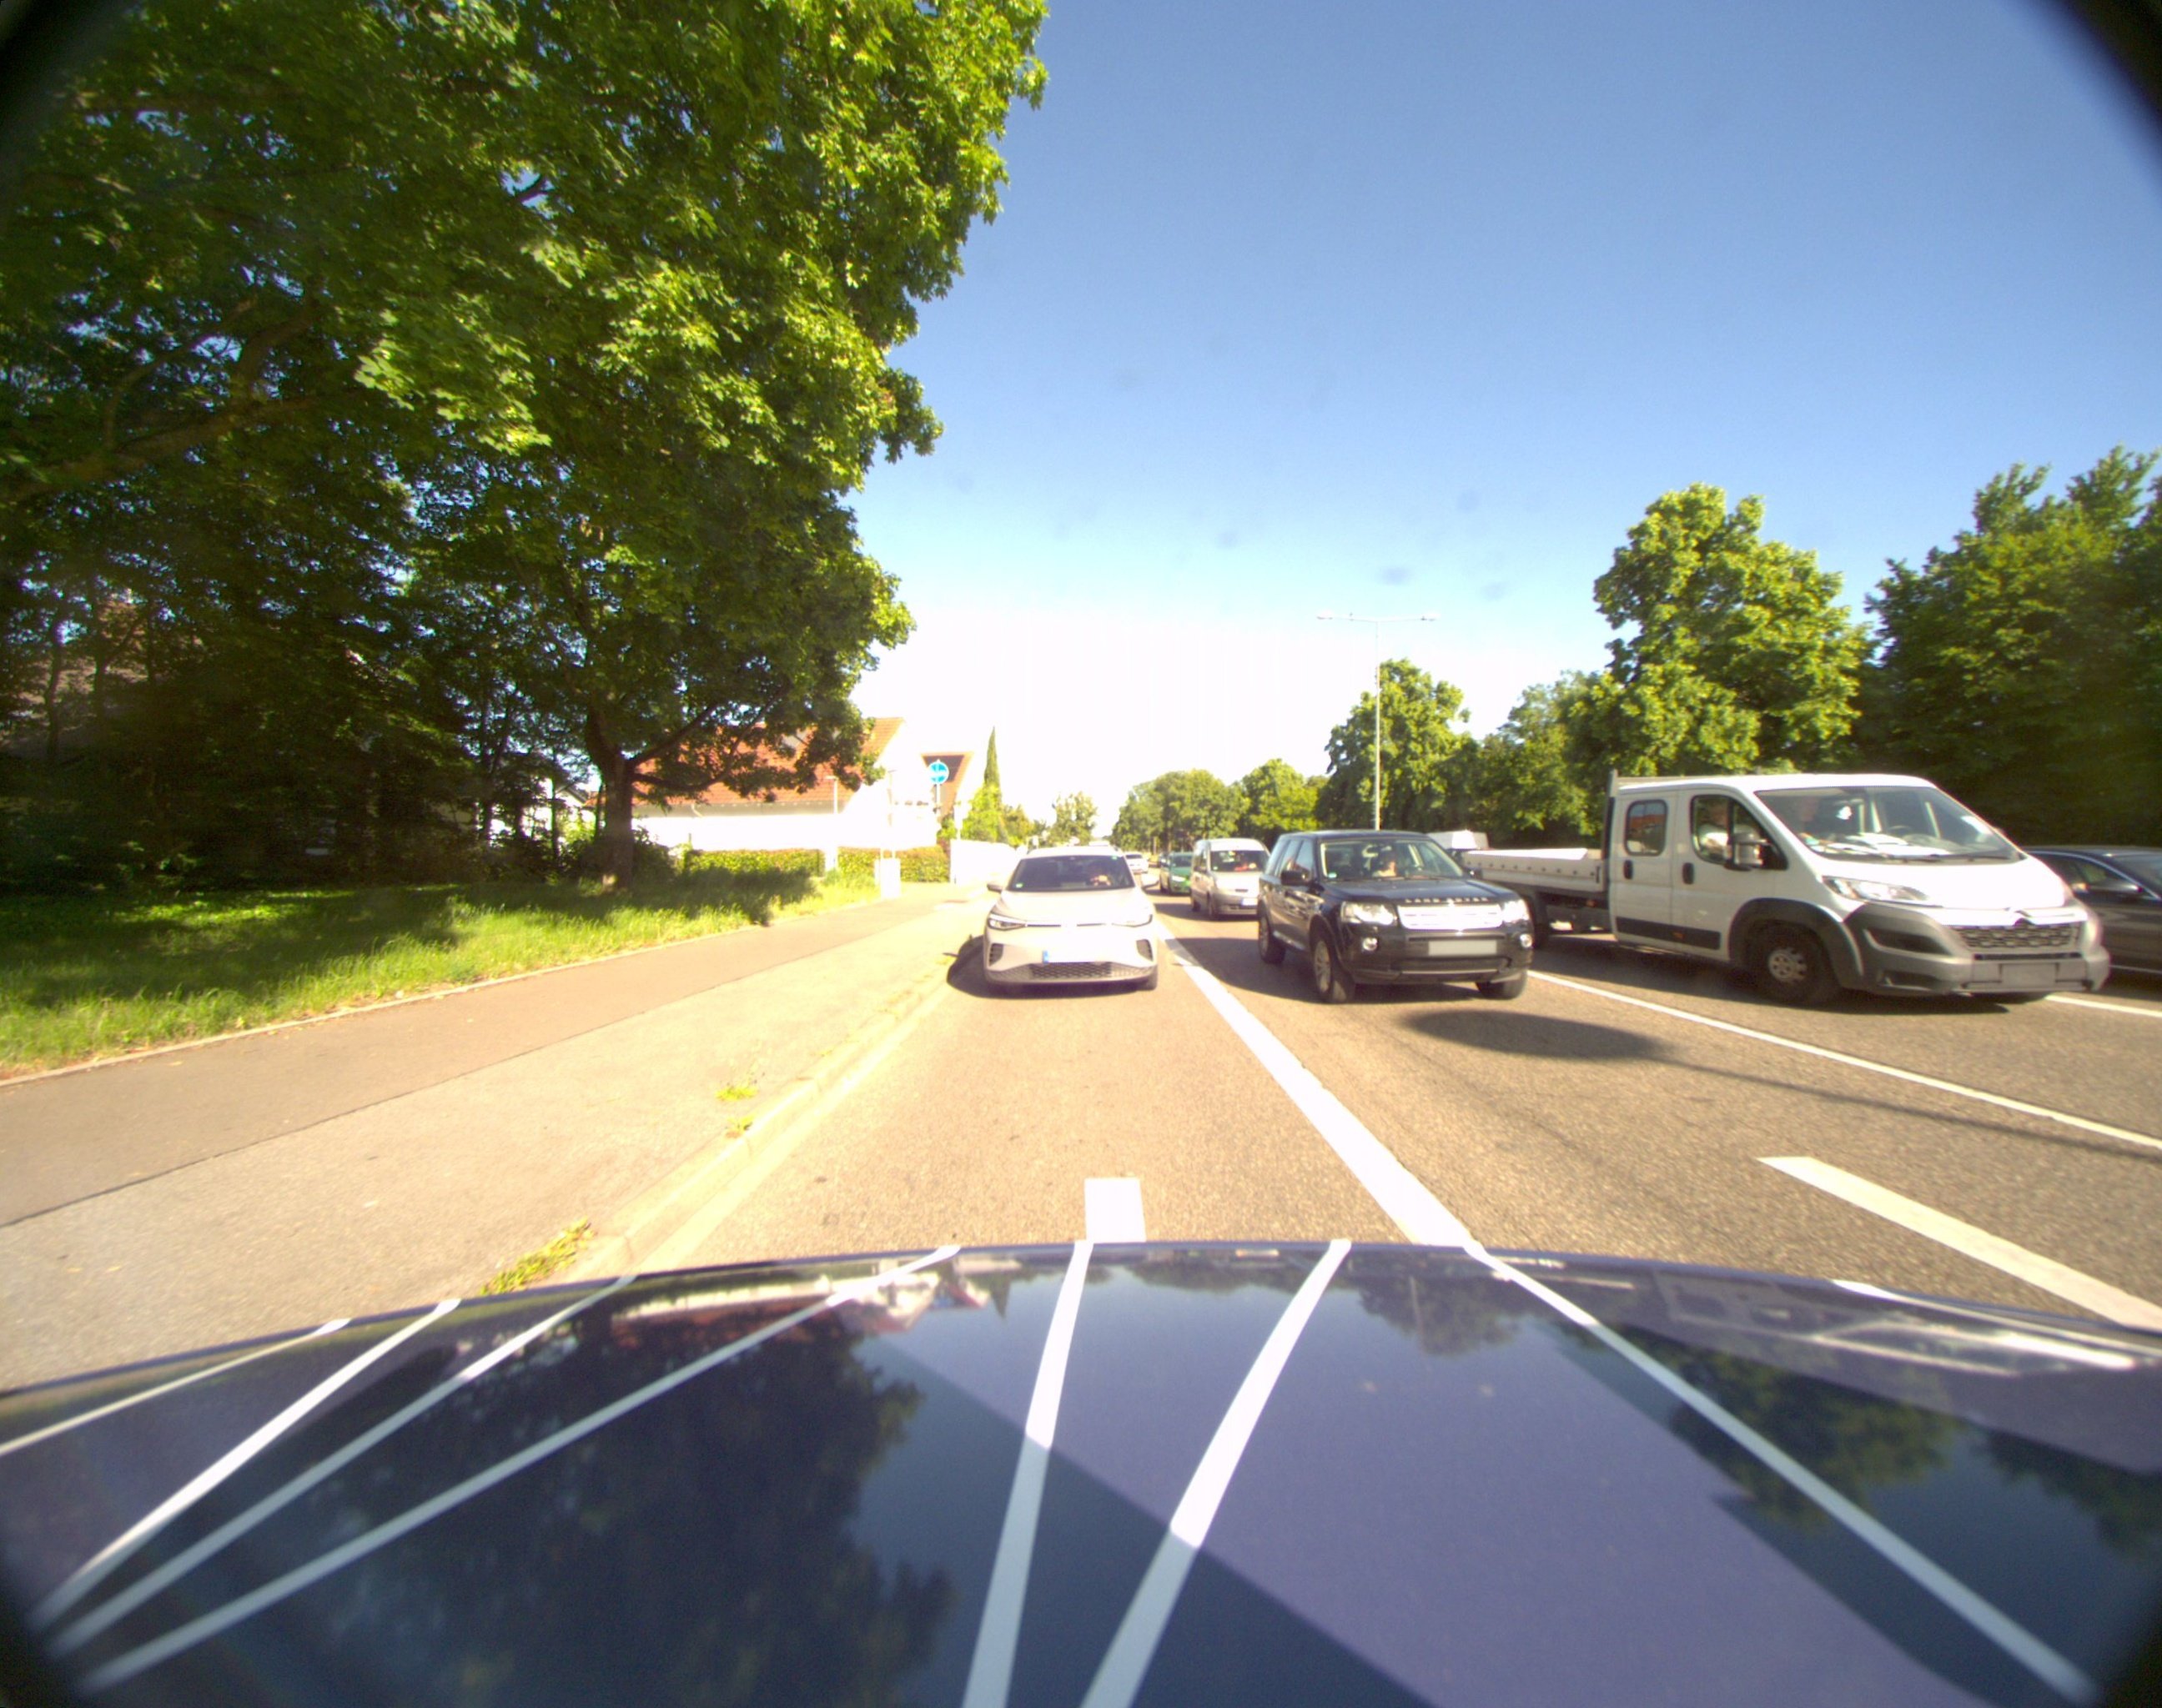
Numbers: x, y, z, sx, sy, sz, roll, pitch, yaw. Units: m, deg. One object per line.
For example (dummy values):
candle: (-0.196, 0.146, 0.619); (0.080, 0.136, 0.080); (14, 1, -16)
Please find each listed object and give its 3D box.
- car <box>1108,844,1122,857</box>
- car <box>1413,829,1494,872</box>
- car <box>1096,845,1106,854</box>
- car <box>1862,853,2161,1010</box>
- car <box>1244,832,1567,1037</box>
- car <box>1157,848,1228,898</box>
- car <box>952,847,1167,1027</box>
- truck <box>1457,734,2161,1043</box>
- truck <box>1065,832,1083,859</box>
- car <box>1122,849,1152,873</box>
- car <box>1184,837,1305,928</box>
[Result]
car: (5.013, -0.496, 112.552); (1.798, 1.788, 3.911); (-2, 1, 1)
car: (19.465, -0.205, 39.933); (1.917, 2.073, 4.538); (-2, 1, -1)
car: (4.039, -0.932, 151.333); (1.840, 1.788, 3.911); (-2, 1, 1)
car: (10.726, 0.709, 7.370); (1.835, 1.397, 4.355); (0, 1, 1)
car: (3.158, 0.646, 8.485); (1.826, 1.674, 4.392); (-1, 1, 2)
car: (3.710, 0.584, 25.980); (1.919, 1.477, 4.365); (-2, 1, 2)
car: (-0.114, 0.781, 9.411); (1.992, 1.631, 4.365); (-2, 1, 2)
truck: (7.239, 0.231, 9.030); (2.190, 2.296, 6.773); (0, 1, 0)
truck: (-0.772, -0.966, 90.921); (1.998, 3.059, 5.807); (-2, 1, 0)
car: (3.796, 0.426, 52.204); (1.919, 1.477, 4.365); (-2, 1, 2)
car: (3.531, 0.541, 17.246); (1.919, 1.718, 4.365); (-2, 1, 2)
